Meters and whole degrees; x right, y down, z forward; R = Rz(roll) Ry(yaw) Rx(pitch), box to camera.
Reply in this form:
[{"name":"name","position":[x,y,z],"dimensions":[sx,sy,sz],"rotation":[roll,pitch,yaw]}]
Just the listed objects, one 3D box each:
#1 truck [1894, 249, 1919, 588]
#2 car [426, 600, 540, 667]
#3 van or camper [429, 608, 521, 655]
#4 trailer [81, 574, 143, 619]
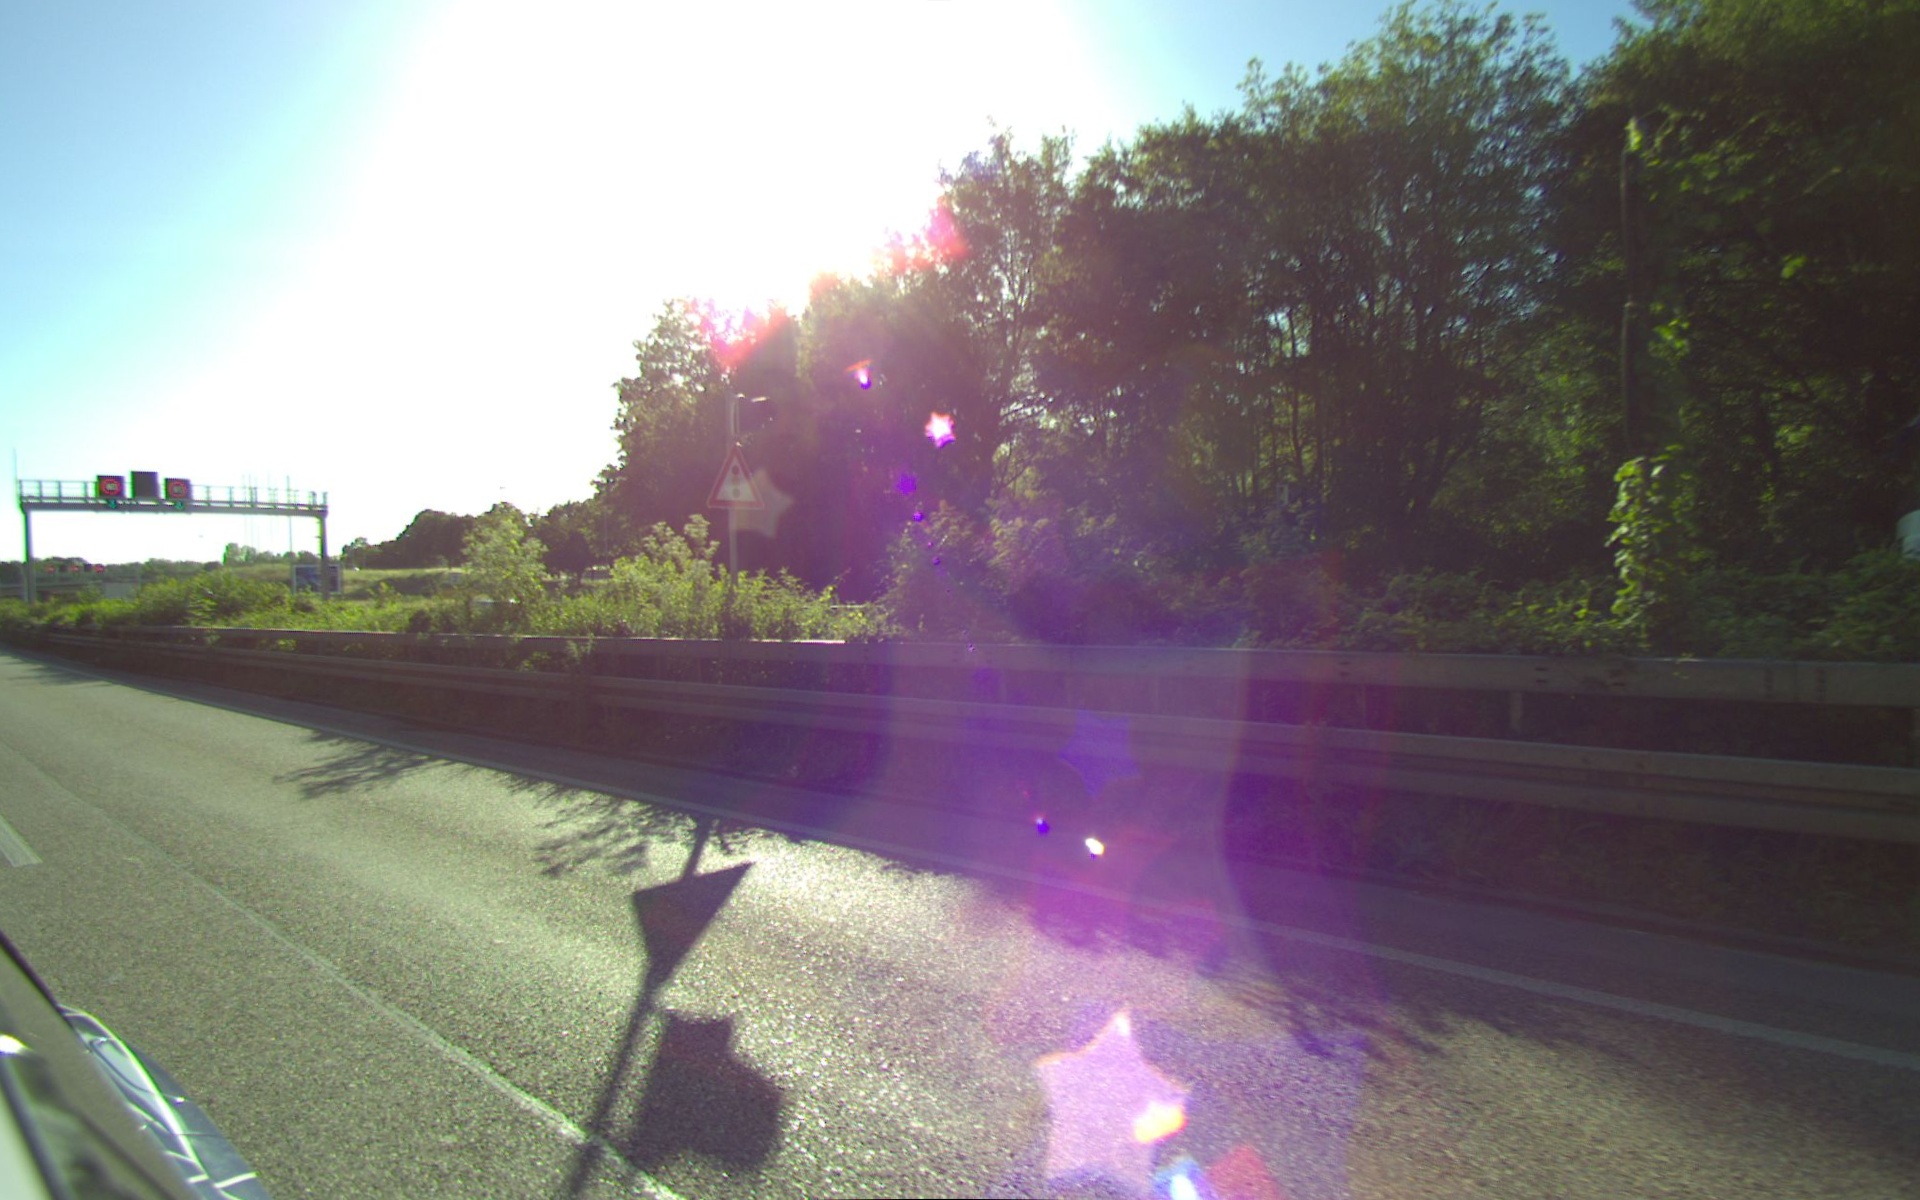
[{"name":"truck","position":[12.602,-1.763,8.336],"dimensions":[7.080,3.192,2.899],"rotation":[-1,0,41]},{"name":"car","position":[-15.554,1.052,32.939],"dimensions":[3.999,2.029,1.972],"rotation":[-1,0,42]},{"name":"van or camper","position":[-22.662,1.434,47.170],"dimensions":[5.940,2.029,1.856],"rotation":[-1,0,44]},{"name":"trailer","position":[-79.364,-0.257,94.541],"dimensions":[14.030,4.018,2.989],"rotation":[-1,0,44]}]
